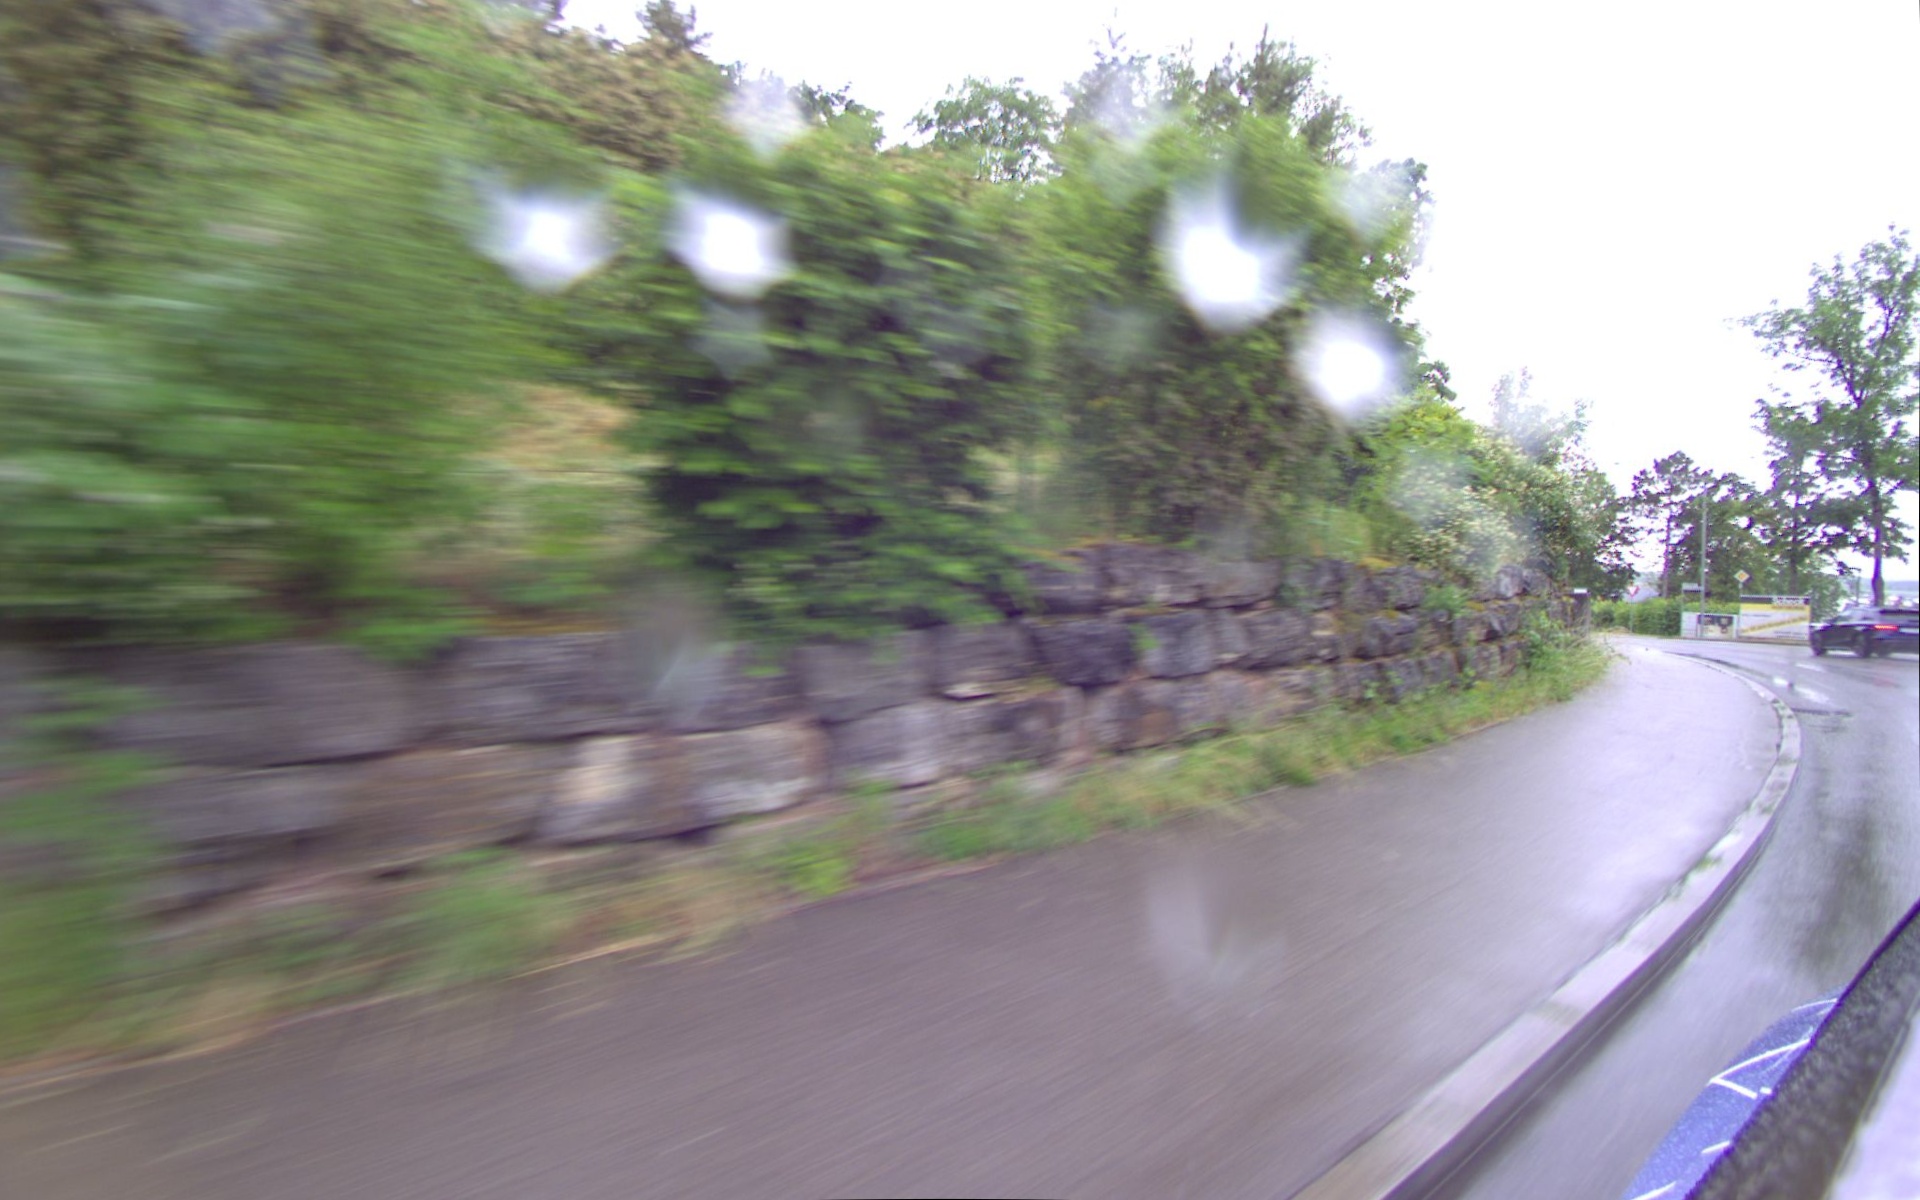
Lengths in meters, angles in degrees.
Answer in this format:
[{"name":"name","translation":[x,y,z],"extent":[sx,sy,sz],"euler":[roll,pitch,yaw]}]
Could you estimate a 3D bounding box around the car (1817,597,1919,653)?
[{"name":"car","translation":[25.826,0.643,28.109],"extent":[1.761,1.438,4.137],"euler":[1,0,20]}]
